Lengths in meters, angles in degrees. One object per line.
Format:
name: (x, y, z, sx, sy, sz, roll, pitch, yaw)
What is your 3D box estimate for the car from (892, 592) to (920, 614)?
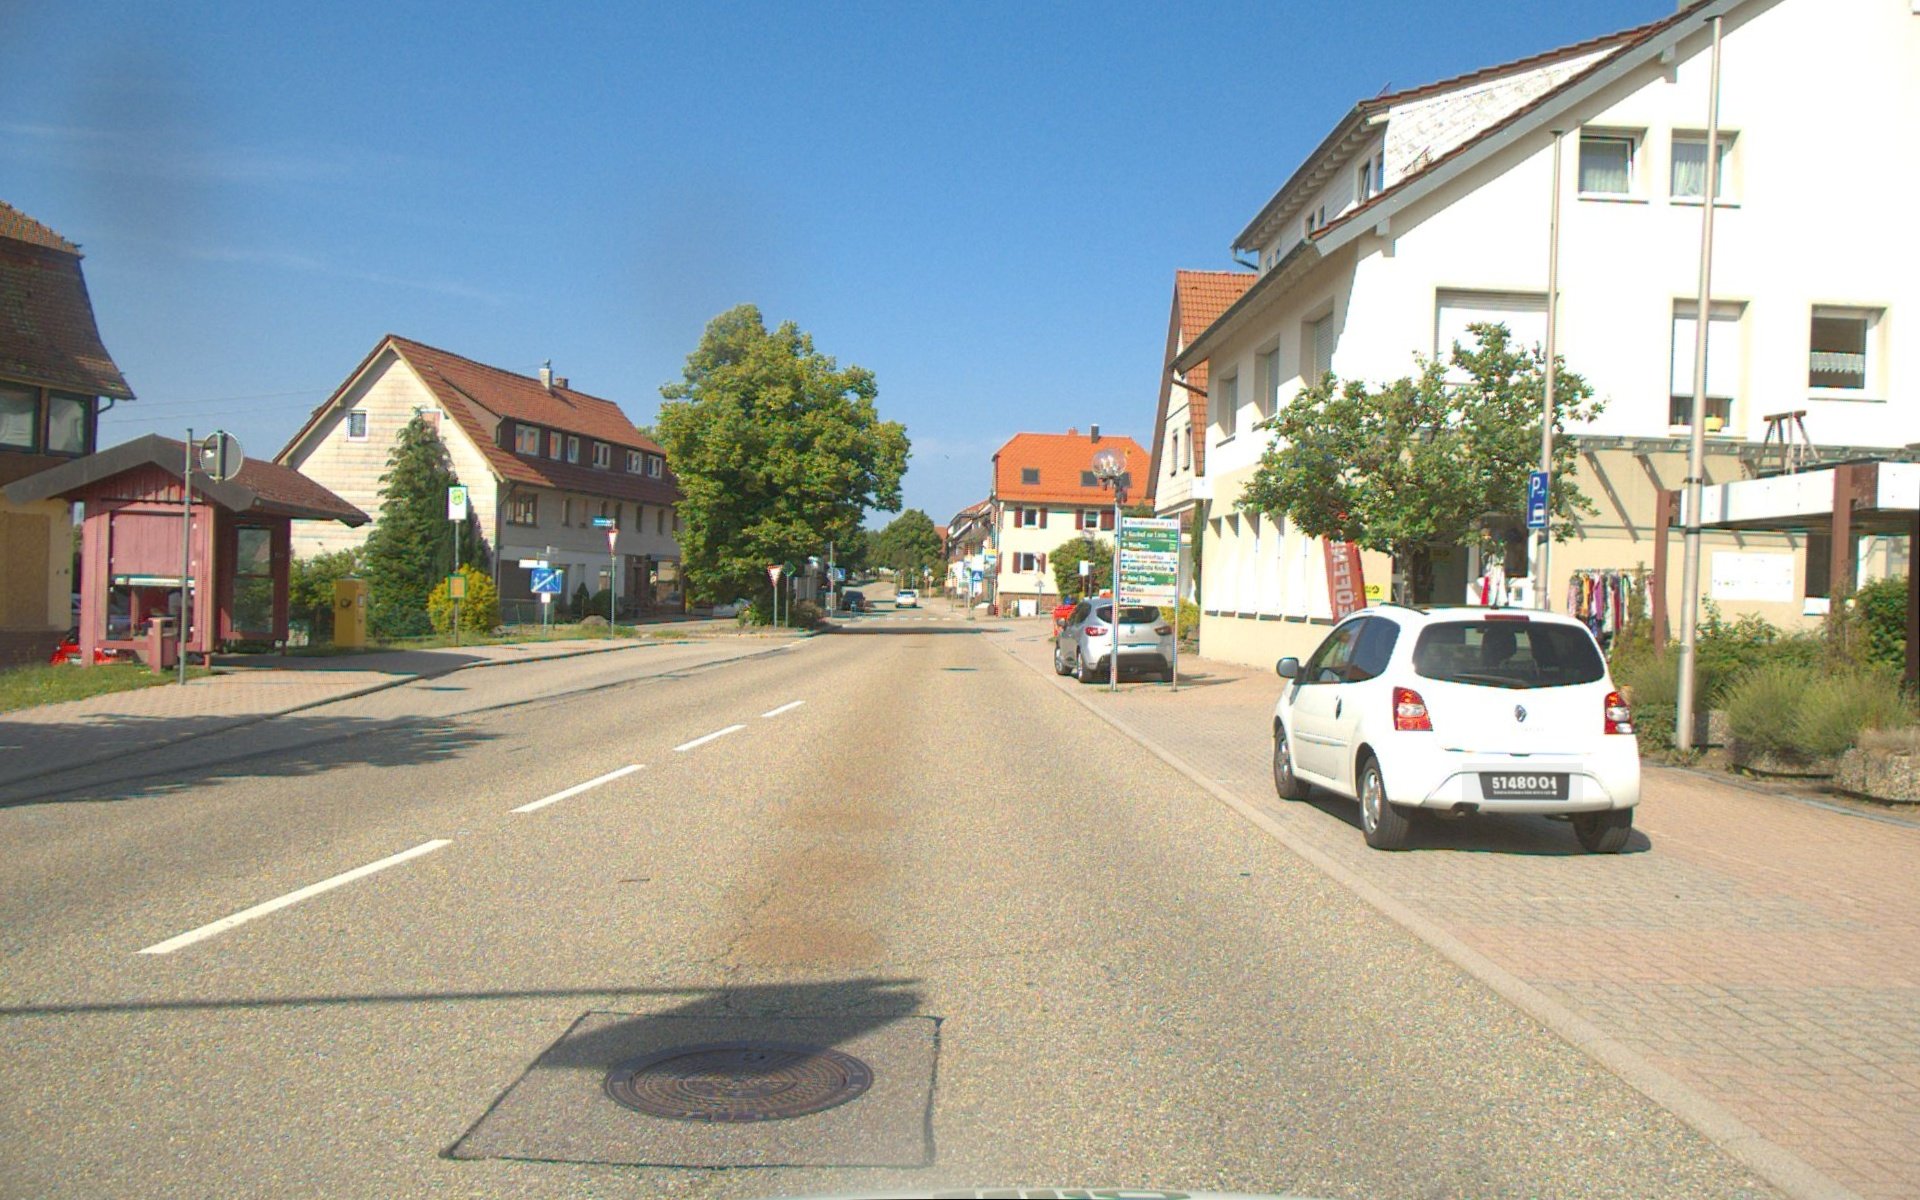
car: (-5.259, 0.273, 160.211, 2.447, 2.049, 4.300, -2, 0, -5)

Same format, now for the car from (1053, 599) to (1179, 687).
car: (2.752, 0.720, 29.908, 1.603, 1.444, 3.931, -1, 0, -5)

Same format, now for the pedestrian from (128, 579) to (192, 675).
pedestrian: (-11.949, 0.393, 24.712, 0.605, 1.388, 0.674, -1, 1, -3)

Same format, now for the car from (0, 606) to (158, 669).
car: (-24.071, 0.997, 44.402, 4.210, 1.538, 1.801, 2, -1, 9)

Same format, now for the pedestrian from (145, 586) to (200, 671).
pedestrian: (-12.042, 0.434, 25.300, 0.616, 1.275, 0.423, -1, 0, -4)

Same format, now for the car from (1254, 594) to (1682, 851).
car: (3.273, 0.700, 11.402, 1.725, 1.448, 3.632, -1, 0, -2)

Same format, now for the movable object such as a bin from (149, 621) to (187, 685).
movable object such as a bin: (-10.709, 0.709, 22.359, 0.299, 0.852, 0.485, 0, 0, -4)

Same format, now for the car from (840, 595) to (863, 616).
car: (-8.924, 0.469, 135.806, 1.639, 1.559, 3.534, 5, 0, -2)

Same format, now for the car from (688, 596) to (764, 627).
car: (-12.684, 0.638, 89.772, 3.679, 1.480, 1.819, -2, -5, 11)

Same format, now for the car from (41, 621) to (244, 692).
car: (-17.182, 1.152, 34.978, 1.684, 1.320, 4.003, -1, 0, 13)

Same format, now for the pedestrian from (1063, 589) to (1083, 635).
pedestrian: (4.463, 0.469, 65.575, 0.782, 1.815, 0.980, 0, 0, 4)
